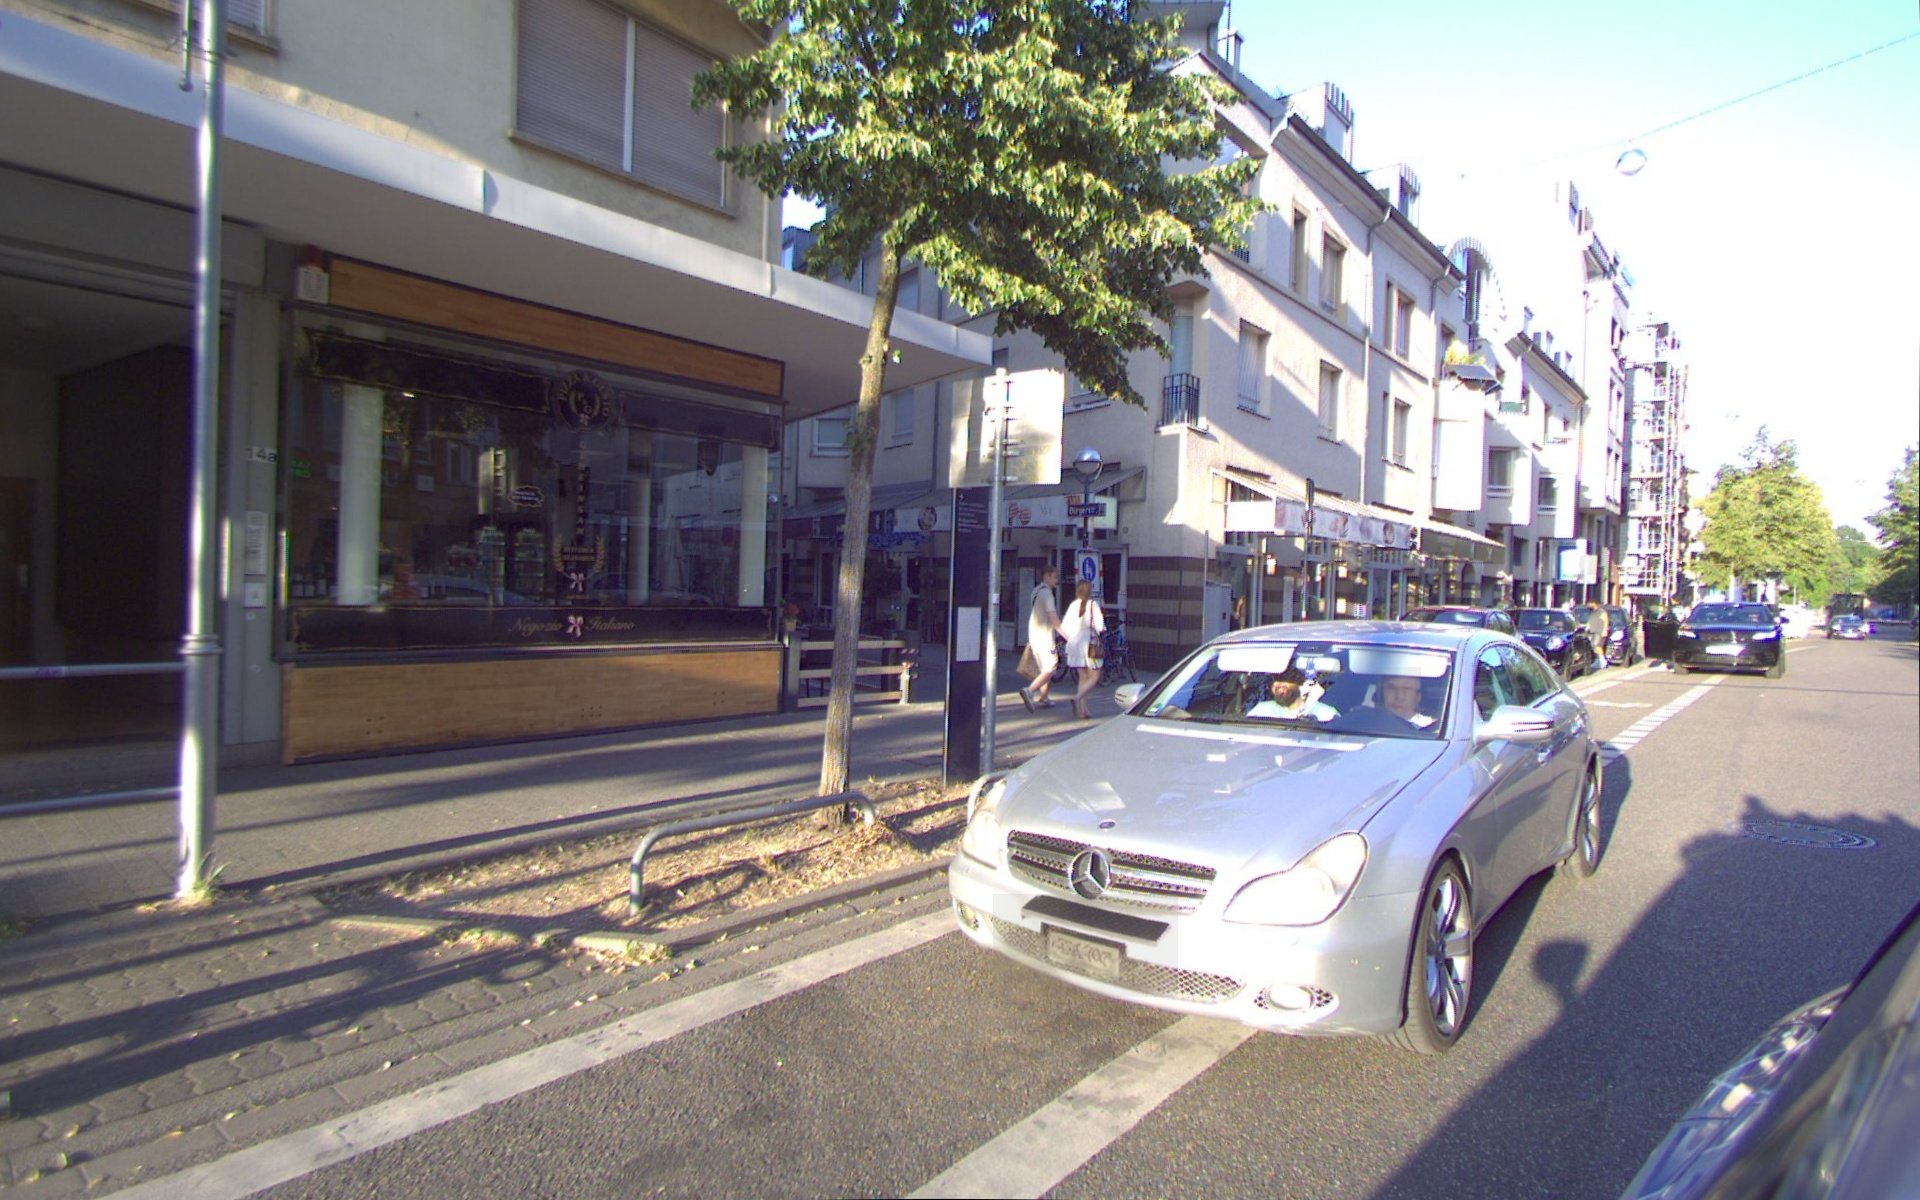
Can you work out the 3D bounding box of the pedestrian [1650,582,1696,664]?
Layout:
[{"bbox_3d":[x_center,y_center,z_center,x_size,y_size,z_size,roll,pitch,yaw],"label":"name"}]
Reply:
[{"bbox_3d":[17.071,0.547,24.235,0.776,1.907,0.660,-2,-2,41],"label":"pedestrian"}]

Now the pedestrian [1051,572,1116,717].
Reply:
[{"bbox_3d":[1.440,0.503,11.811,0.519,1.612,0.402,5,3,41],"label":"pedestrian"}]

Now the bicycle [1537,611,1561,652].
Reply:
[{"bbox_3d":[16.324,0.859,28.029,0.295,1.099,1.441,1,1,41],"label":"bicycle"}]

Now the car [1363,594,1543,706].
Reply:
[{"bbox_3d":[7.759,0.684,15.758,1.587,1.451,3.868,4,2,40],"label":"car"}]

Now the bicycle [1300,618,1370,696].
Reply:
[{"bbox_3d":[5.555,0.816,14.940,0.314,1.059,1.638,3,2,43],"label":"bicycle"}]

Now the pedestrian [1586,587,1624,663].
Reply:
[{"bbox_3d":[15.639,0.591,24.525,0.629,1.771,0.660,3,2,41],"label":"pedestrian"}]

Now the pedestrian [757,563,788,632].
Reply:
[{"bbox_3d":[-4.775,-0.081,25.714,0.688,1.696,0.799,2,2,-13],"label":"pedestrian"}]

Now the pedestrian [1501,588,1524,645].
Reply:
[{"bbox_3d":[17.893,0.515,32.759,0.574,1.823,0.443,0,0,42],"label":"pedestrian"}]

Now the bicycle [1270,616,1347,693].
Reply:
[{"bbox_3d":[5.210,0.782,15.062,0.314,1.059,1.853,3,2,43],"label":"bicycle"}]

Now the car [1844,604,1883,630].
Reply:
[{"bbox_3d":[54.084,0.977,60.628,1.616,1.492,3.634,0,0,41],"label":"car"}]

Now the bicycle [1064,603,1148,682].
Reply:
[{"bbox_3d":[2.247,0.620,15.423,0.290,1.118,1.859,2,1,41],"label":"bicycle"}]

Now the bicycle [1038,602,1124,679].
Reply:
[{"bbox_3d":[1.910,0.598,15.726,0.320,1.118,1.851,2,1,41],"label":"bicycle"}]

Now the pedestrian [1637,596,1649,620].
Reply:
[{"bbox_3d":[36.375,0.436,53.906,0.490,1.279,0.415,0,0,42],"label":"pedestrian"}]

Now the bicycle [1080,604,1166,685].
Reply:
[{"bbox_3d":[2.474,0.634,15.210,0.320,1.118,1.851,2,1,41],"label":"bicycle"}]

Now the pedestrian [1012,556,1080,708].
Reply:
[{"bbox_3d":[1.052,0.377,12.366,0.543,1.779,0.495,5,3,41],"label":"pedestrian"}]

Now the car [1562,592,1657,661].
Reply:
[{"bbox_3d":[17.125,0.646,26.614,1.615,1.612,3.868,2,1,40],"label":"car"}]

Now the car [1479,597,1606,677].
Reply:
[{"bbox_3d":[12.196,0.697,21.088,1.615,1.452,3.868,3,2,40],"label":"car"}]

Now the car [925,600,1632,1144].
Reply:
[{"bbox_3d":[1.994,0.721,5.017,1.740,1.418,4.572,1,0,40],"label":"car"}]

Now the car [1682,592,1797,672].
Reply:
[{"bbox_3d":[17.896,0.670,23.158,1.884,1.656,4.165,0,0,41],"label":"car"}]
